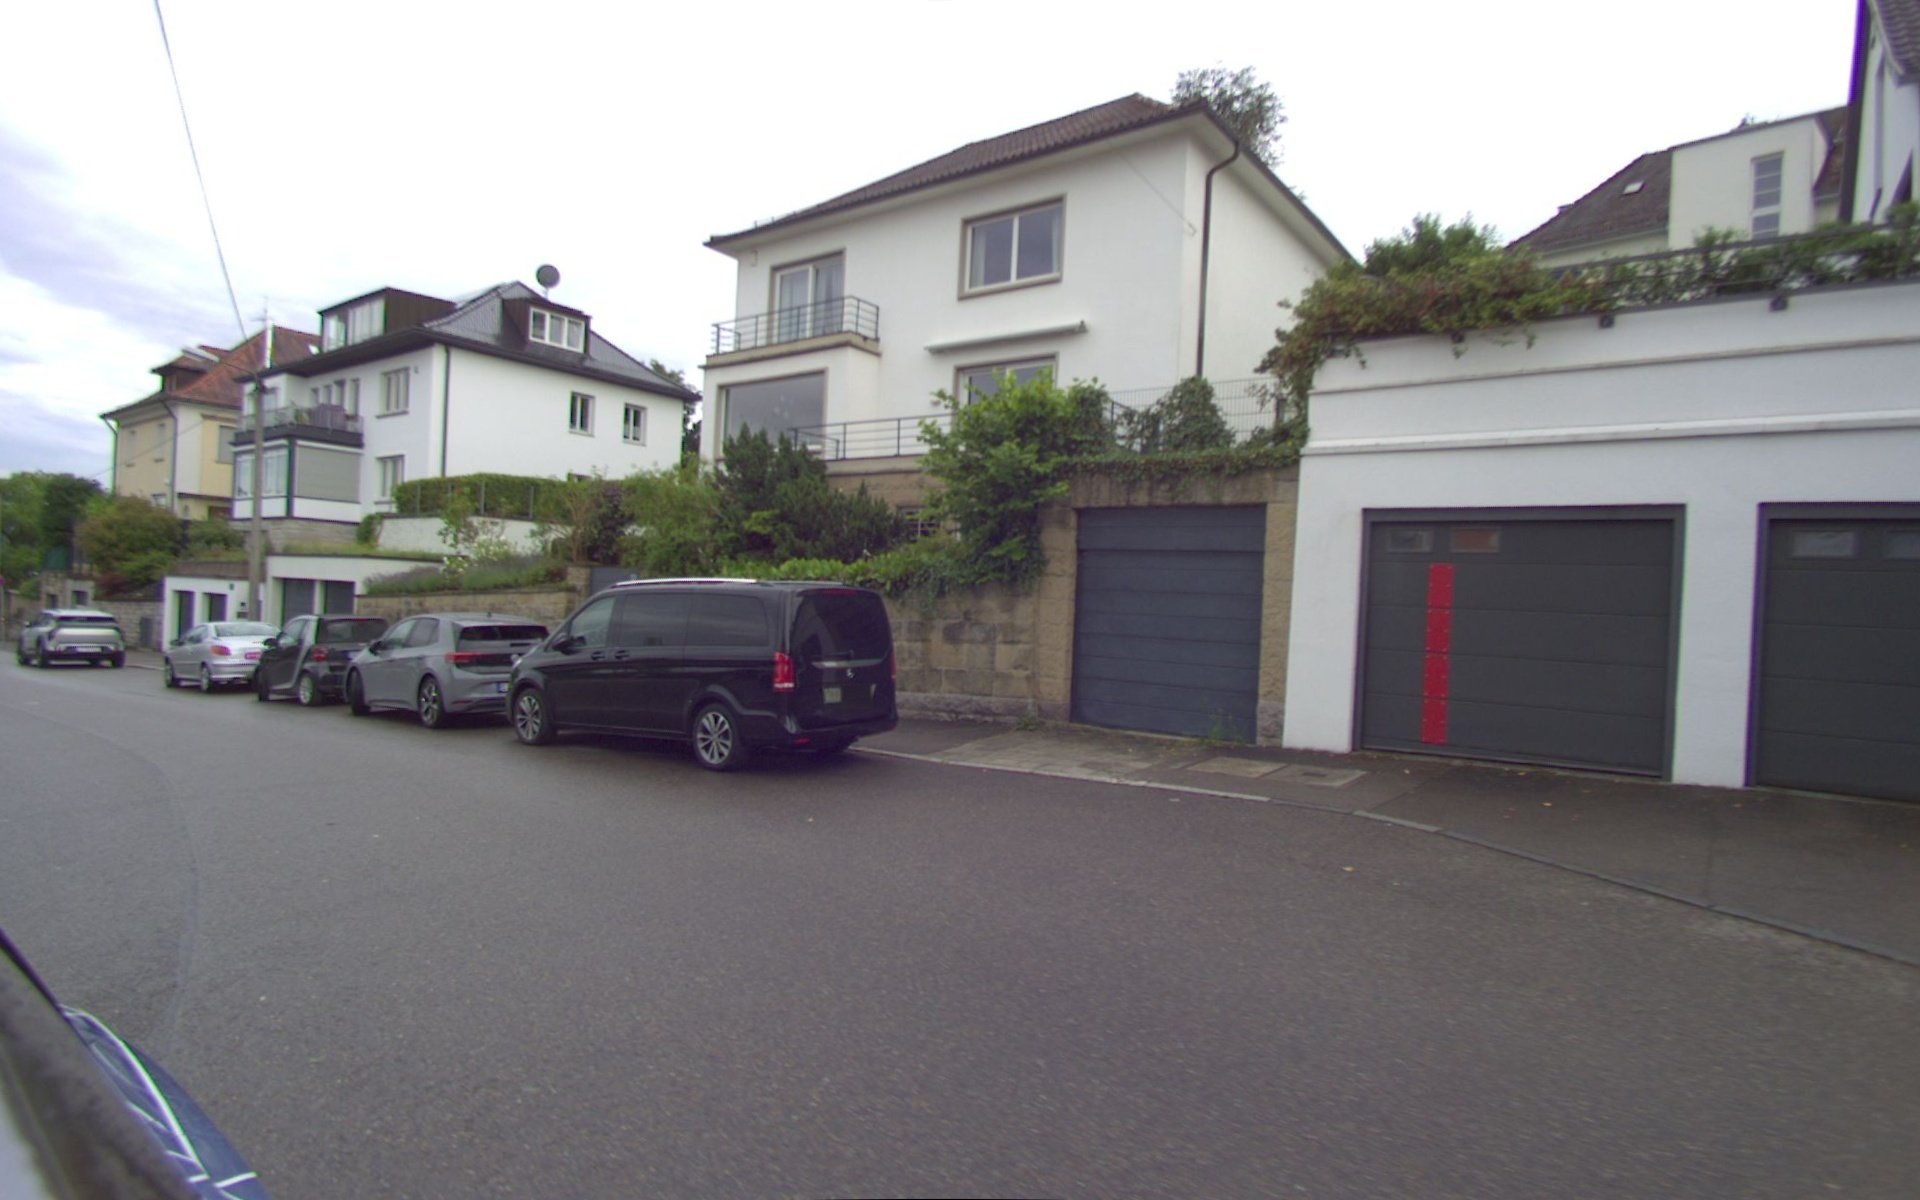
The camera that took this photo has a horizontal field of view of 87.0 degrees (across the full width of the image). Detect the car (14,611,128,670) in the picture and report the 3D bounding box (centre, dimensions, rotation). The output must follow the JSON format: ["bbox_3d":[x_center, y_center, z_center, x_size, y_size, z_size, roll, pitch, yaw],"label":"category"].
[{"bbox_3d":[-24.969,1.085,28.387,3.997,1.512,1.845,0,-1,40],"label":"car"}]

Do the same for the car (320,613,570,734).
[{"bbox_3d":[-7.718,0.967,14.978,4.399,1.502,1.675,-1,0,39],"label":"car"}]

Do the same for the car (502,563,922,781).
[{"bbox_3d":[-2.911,0.680,11.381,4.763,1.972,1.976,-1,-1,35],"label":"car"}]

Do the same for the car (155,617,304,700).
[{"bbox_3d":[-14.858,1.122,20.540,3.433,1.502,1.575,-1,0,38],"label":"car"}]

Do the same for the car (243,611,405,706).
[{"bbox_3d":[-11.206,0.961,17.787,2.889,1.502,1.503,-1,0,38],"label":"car"}]
